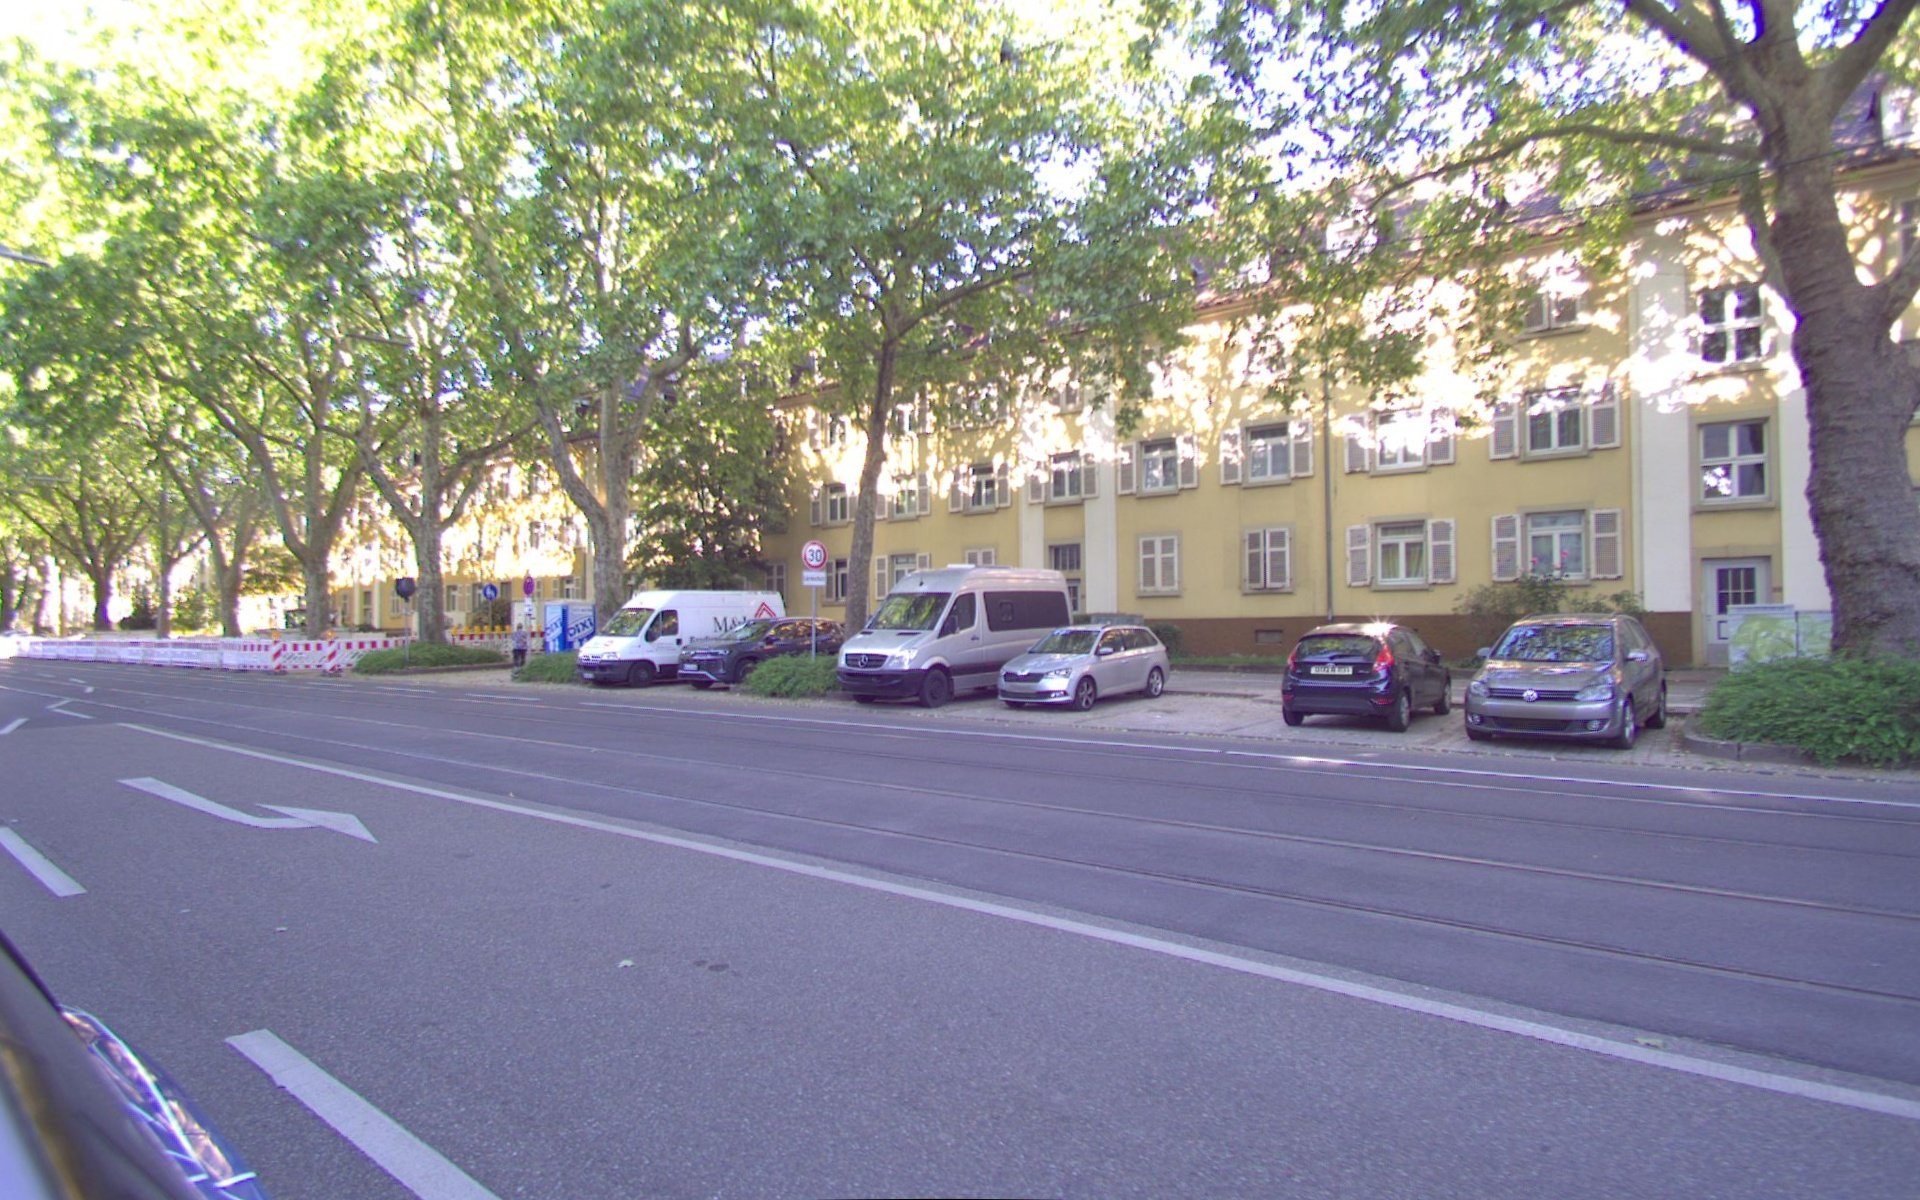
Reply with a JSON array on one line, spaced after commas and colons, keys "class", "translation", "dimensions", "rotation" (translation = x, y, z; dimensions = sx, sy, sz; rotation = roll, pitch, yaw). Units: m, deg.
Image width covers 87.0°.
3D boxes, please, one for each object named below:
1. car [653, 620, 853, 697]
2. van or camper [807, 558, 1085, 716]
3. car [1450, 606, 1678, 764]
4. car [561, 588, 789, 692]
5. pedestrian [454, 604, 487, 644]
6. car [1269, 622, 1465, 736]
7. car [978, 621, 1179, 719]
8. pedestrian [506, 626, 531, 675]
[{"class": "car", "translation": [-4.827, 1.321, 24.164], "dimensions": [1.967, 1.643, 4.519], "rotation": [-2, -2, 38]}, {"class": "van or camper", "translation": [-0.058, 0.652, 20.281], "dimensions": [2.227, 2.697, 6.051], "rotation": [-2, -1, 38]}, {"class": "car", "translation": [7.984, 0.954, 13.192], "dimensions": [1.814, 1.617, 4.145], "rotation": [-2, 0, 41]}, {"class": "car", "translation": [-7.178, 0.998, 26.087], "dimensions": [2.023, 2.394, 5.543], "rotation": [-2, -2, 38]}, {"class": "pedestrian", "translation": [-25.598, 1.259, 52.909], "dimensions": [1.233, 2.029, 1.085], "rotation": [-2, -2, 36]}, {"class": "car", "translation": [6.156, 1.079, 15.109], "dimensions": [1.740, 1.440, 3.528], "rotation": [-2, -1, 39]}, {"class": "car", "translation": [2.292, 1.195, 18.692], "dimensions": [1.729, 1.481, 4.102], "rotation": [0, 0, 40]}, {"class": "pedestrian", "translation": [-14.491, 1.652, 33.215], "dimensions": [0.587, 1.585, 0.719], "rotation": [0, -2, -10]}]
